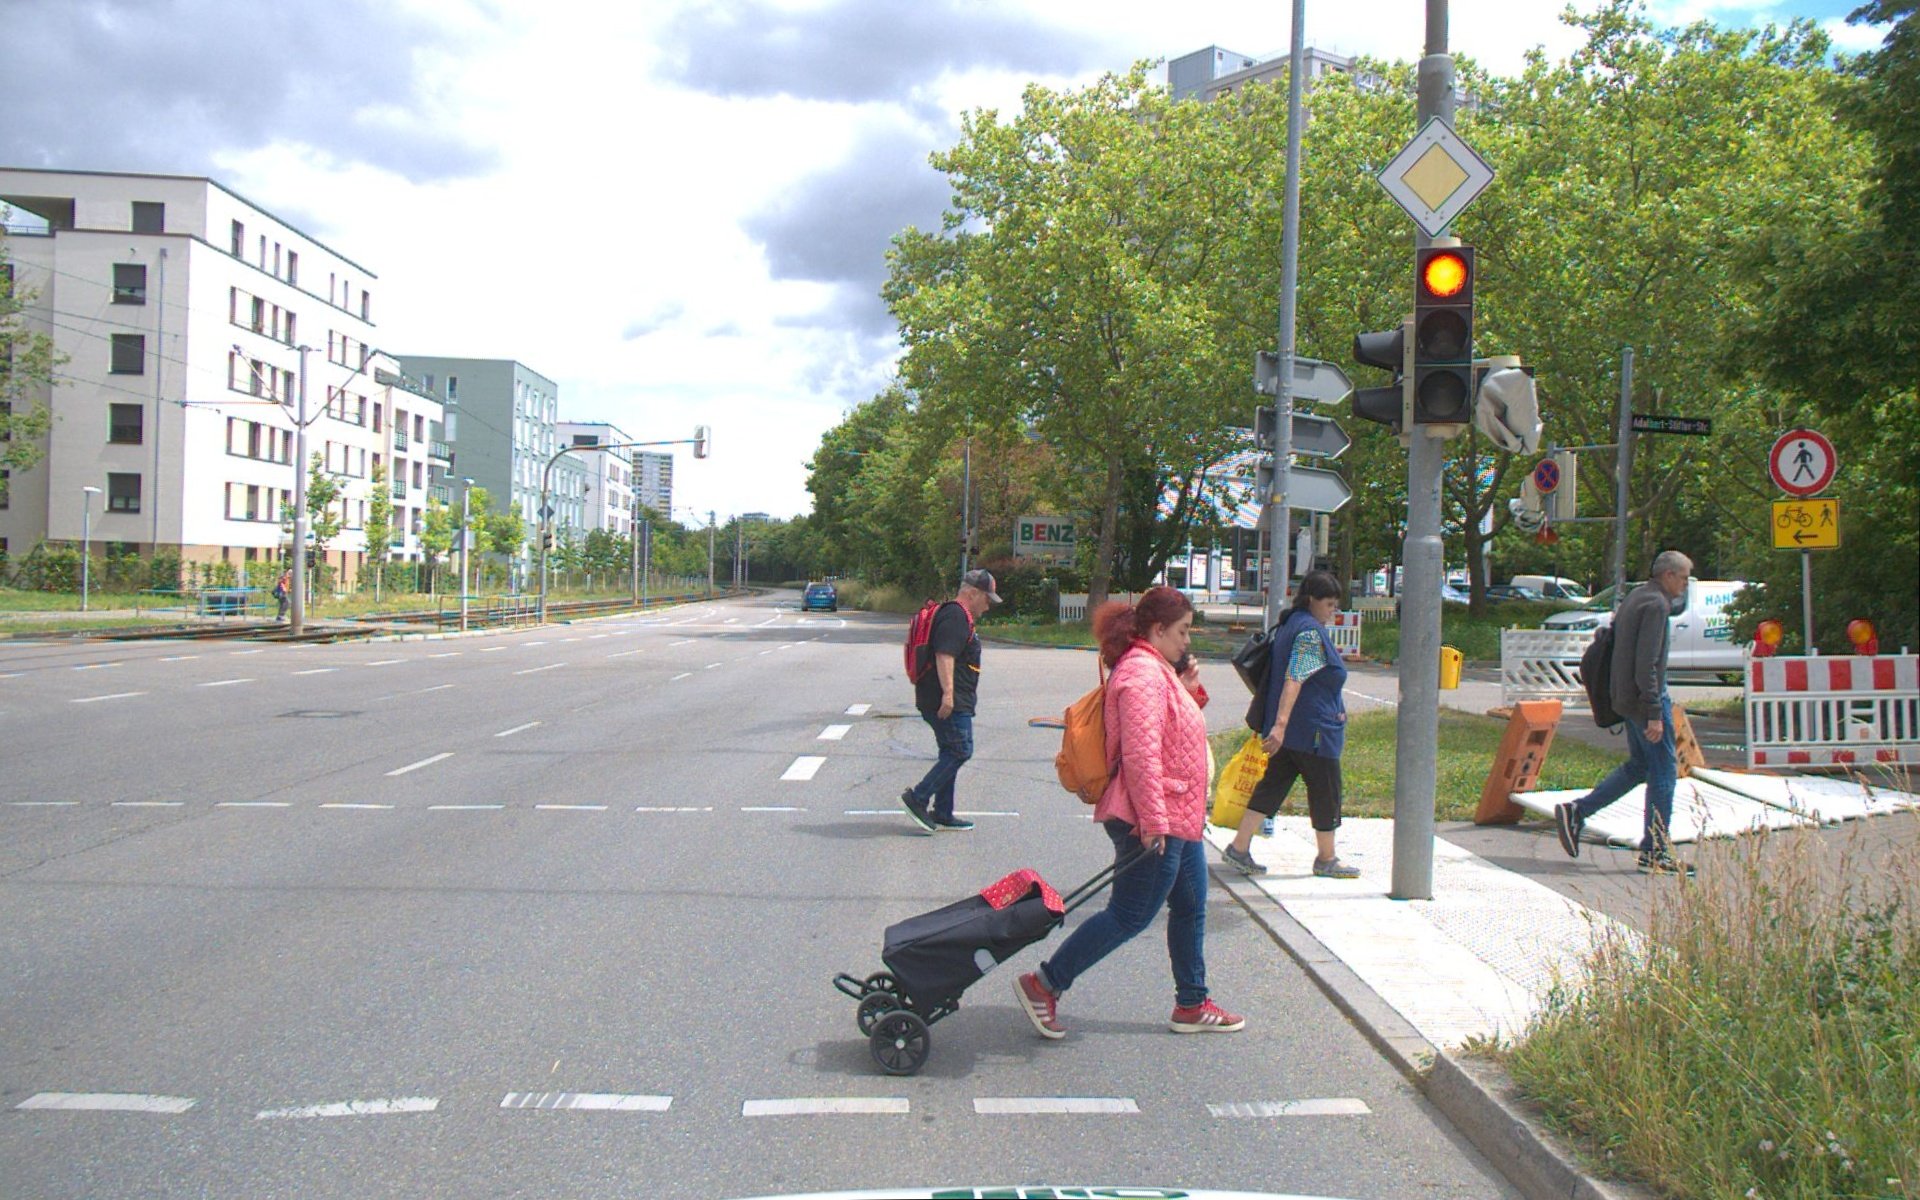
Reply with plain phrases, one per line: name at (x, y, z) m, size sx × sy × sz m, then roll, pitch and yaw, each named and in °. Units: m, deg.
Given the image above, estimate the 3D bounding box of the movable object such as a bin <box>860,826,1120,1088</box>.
movable object such as a bin at (0.089, 1.135, 5.403) m, size 0.779 × 0.673 × 0.778 m, roll 1°, pitch 0°, yaw -1°

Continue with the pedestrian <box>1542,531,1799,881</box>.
pedestrian at (3.854, 0.547, 9.051) m, size 0.982 × 1.804 × 0.929 m, roll 1°, pitch 0°, yaw -1°

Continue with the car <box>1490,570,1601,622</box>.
car at (23.935, -0.184, 67.699) m, size 1.974 × 2.049 × 3.957 m, roll 0°, pitch 1°, yaw -32°

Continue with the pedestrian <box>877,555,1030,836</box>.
pedestrian at (-0.035, 0.552, 10.097) m, size 0.874 × 1.624 × 0.908 m, roll 1°, pitch 0°, yaw 0°

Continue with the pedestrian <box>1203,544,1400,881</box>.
pedestrian at (1.741, 0.545, 8.574) m, size 0.893 × 1.635 × 0.930 m, roll 1°, pitch 0°, yaw 6°

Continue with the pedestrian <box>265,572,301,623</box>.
pedestrian at (-20.807, -0.089, 50.832) m, size 0.814 × 1.542 × 0.636 m, roll 1°, pitch 0°, yaw -1°

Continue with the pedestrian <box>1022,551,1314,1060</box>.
pedestrian at (0.664, 0.638, 5.532) m, size 0.863 × 1.582 × 0.746 m, roll 1°, pitch 0°, yaw -1°

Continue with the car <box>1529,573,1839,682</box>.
car at (13.433, 0.498, 30.861) m, size 4.976 × 1.906 × 1.947 m, roll 1°, pitch 0°, yaw -5°

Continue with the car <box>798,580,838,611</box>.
car at (-7.308, -0.245, 84.835) m, size 1.944 × 1.512 × 4.485 m, roll 1°, pitch 1°, yaw -6°

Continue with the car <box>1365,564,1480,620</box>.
car at (17.524, -0.316, 62.828) m, size 1.974 × 2.049 × 3.957 m, roll 0°, pitch 1°, yaw -32°
